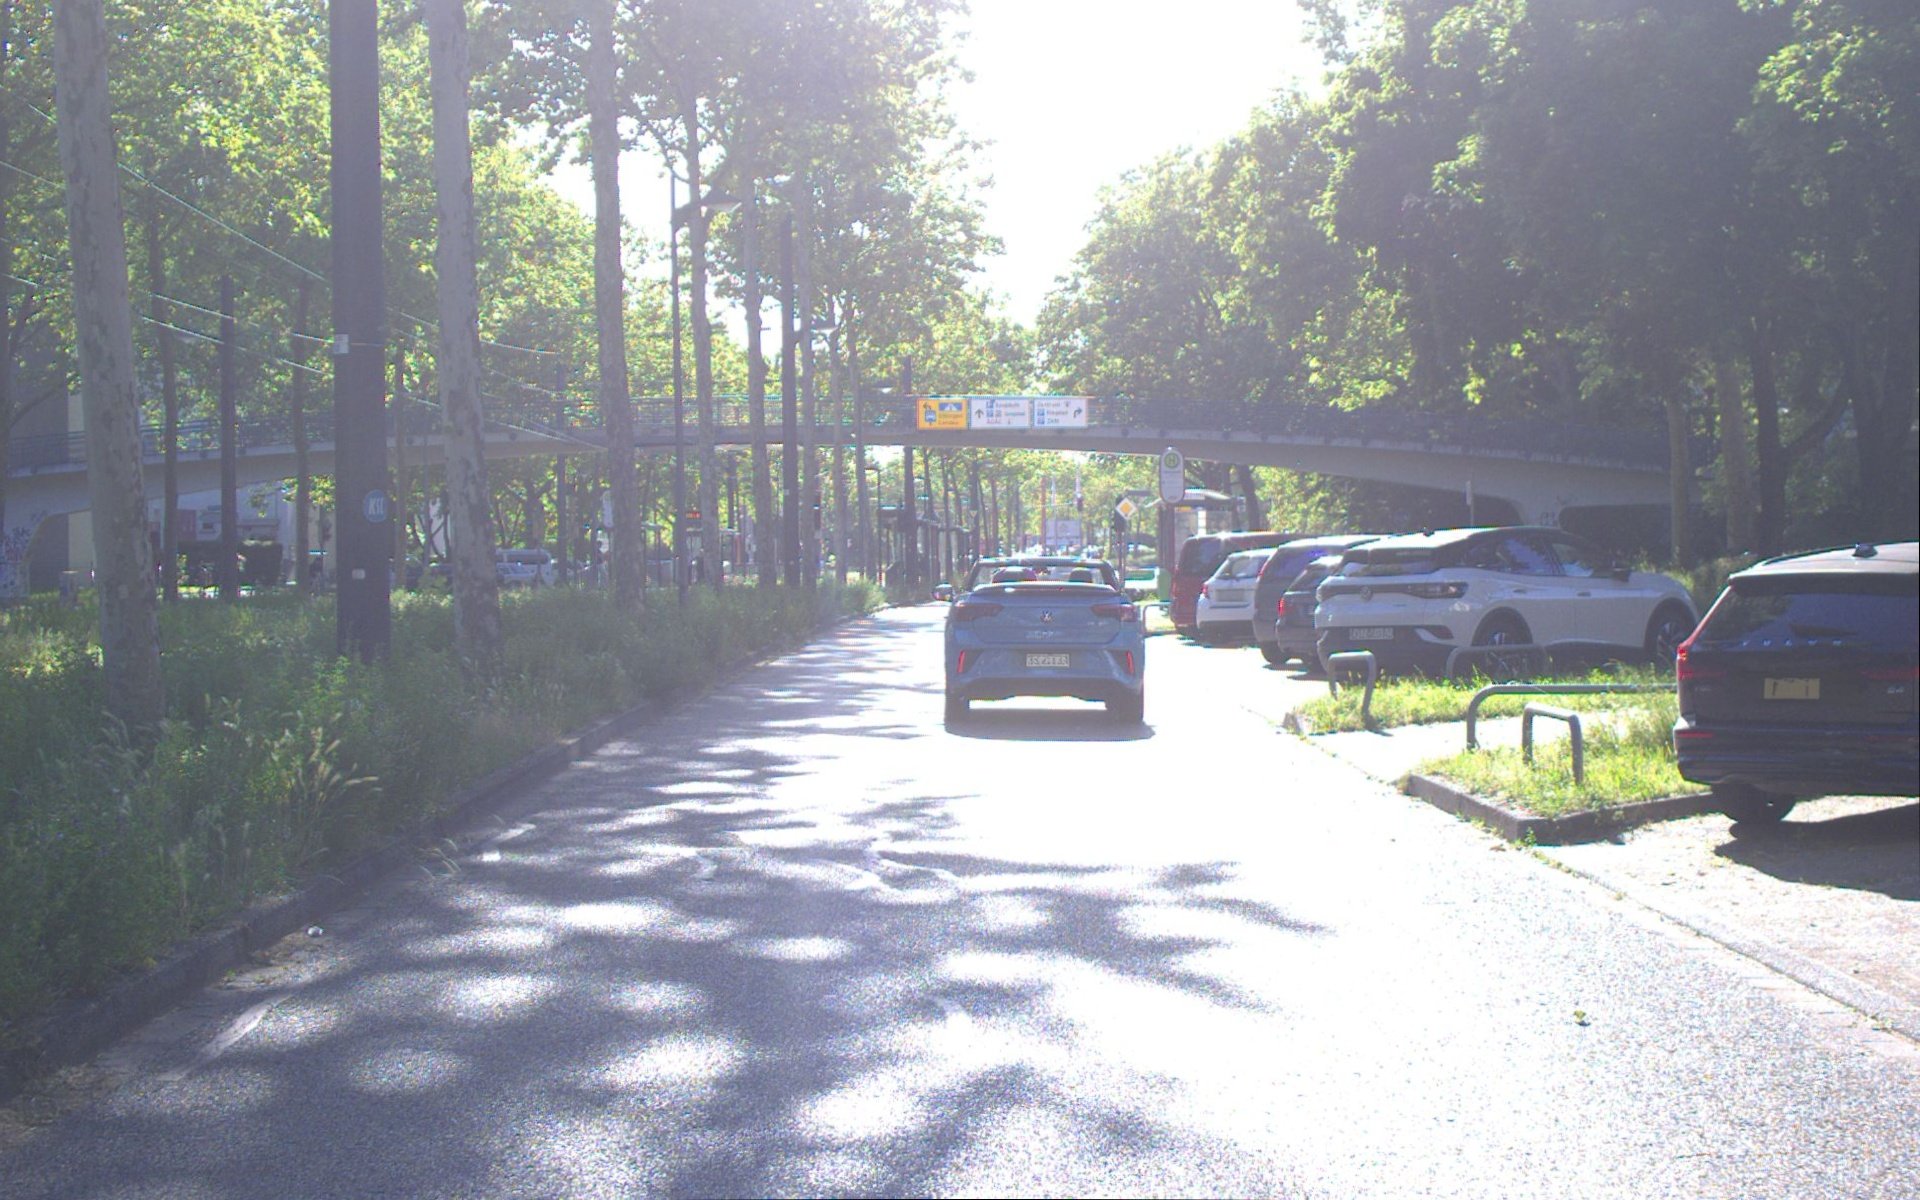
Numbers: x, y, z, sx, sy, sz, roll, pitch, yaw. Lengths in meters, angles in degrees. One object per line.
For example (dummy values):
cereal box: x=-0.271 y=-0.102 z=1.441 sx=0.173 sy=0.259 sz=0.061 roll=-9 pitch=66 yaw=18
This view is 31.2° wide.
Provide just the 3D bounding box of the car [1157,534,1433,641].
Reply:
car: x=5.498 y=-0.214 z=56.062 sx=4.611 sy=1.674 sz=1.856 roll=0 pitch=1 yaw=-43

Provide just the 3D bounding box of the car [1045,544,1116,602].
car: x=3.606 y=-0.831 z=103.379 sx=1.993 sy=1.645 sz=4.000 roll=1 pitch=1 yaw=0

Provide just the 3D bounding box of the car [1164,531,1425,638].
car: x=5.778 y=-0.275 z=59.017 sx=4.611 sy=1.762 sz=1.856 roll=0 pitch=1 yaw=-43

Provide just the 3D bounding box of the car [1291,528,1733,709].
car: x=5.520 y=0.145 z=34.039 sx=4.611 sy=1.674 sz=1.856 roll=0 pitch=1 yaw=-43

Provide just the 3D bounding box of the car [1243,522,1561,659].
car: x=5.904 y=-0.147 z=45.528 sx=1.855 sy=1.674 sz=4.599 roll=-2 pitch=0 yaw=42

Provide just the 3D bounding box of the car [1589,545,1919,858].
car: x=5.488 y=0.431 z=18.319 sx=1.978 sy=1.454 sz=4.613 roll=0 pitch=1 yaw=44

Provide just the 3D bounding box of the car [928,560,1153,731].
car: x=0.713 y=0.371 z=31.602 sx=1.922 sy=1.406 sz=4.000 roll=0 pitch=1 yaw=1

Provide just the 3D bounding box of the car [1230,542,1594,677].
car: x=5.557 y=0.081 z=41.905 sx=4.612 sy=1.516 sz=1.856 roll=-2 pitch=1 yaw=-43
